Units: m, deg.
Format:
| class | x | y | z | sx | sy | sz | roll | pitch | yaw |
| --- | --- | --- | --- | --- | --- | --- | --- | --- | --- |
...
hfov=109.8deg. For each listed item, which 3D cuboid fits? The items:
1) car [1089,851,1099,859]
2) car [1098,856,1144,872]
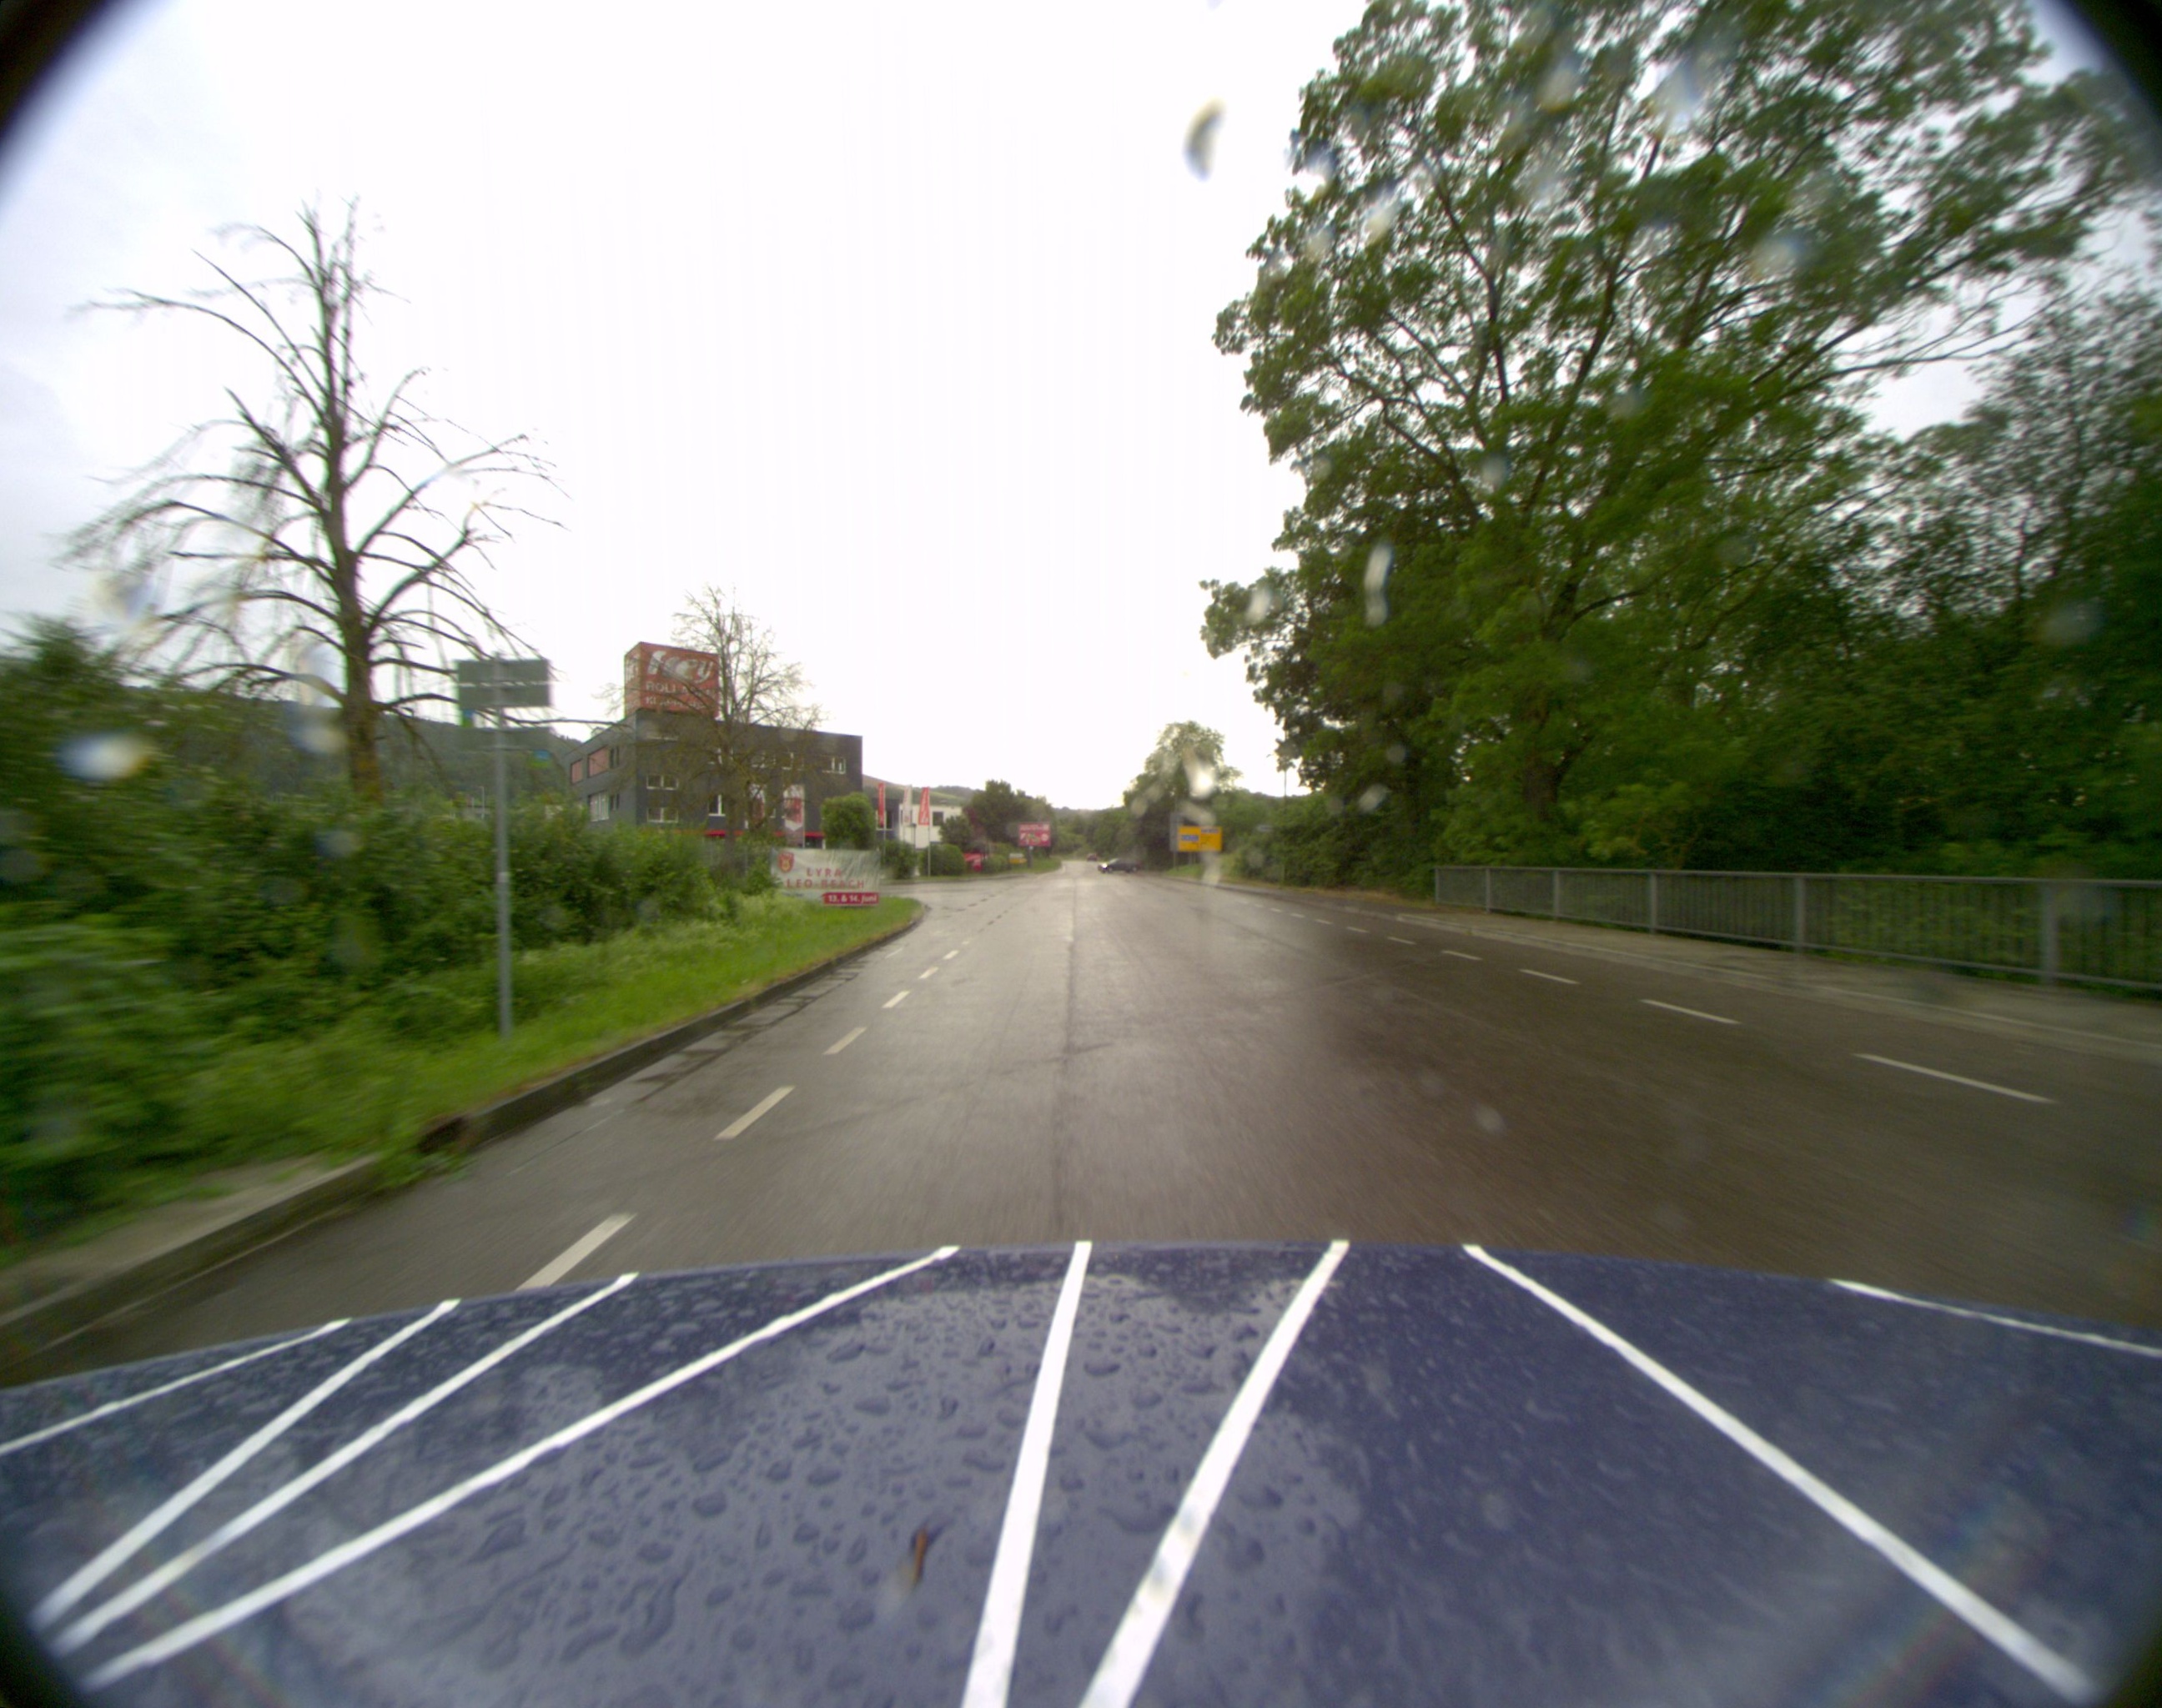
| class | x | y | z | sx | sy | sz | roll | pitch | yaw |
| --- | --- | --- | --- | --- | --- | --- | --- | --- | --- |
| car | 2.421 | 0.234 | 142.039 | 1.834 | 1.515 | 4.000 | -1 | 0 | 2 |
| car | 3.863 | 0.920 | 74.213 | 4.122 | 1.481 | 1.855 | -1 | 0 | -13 |
